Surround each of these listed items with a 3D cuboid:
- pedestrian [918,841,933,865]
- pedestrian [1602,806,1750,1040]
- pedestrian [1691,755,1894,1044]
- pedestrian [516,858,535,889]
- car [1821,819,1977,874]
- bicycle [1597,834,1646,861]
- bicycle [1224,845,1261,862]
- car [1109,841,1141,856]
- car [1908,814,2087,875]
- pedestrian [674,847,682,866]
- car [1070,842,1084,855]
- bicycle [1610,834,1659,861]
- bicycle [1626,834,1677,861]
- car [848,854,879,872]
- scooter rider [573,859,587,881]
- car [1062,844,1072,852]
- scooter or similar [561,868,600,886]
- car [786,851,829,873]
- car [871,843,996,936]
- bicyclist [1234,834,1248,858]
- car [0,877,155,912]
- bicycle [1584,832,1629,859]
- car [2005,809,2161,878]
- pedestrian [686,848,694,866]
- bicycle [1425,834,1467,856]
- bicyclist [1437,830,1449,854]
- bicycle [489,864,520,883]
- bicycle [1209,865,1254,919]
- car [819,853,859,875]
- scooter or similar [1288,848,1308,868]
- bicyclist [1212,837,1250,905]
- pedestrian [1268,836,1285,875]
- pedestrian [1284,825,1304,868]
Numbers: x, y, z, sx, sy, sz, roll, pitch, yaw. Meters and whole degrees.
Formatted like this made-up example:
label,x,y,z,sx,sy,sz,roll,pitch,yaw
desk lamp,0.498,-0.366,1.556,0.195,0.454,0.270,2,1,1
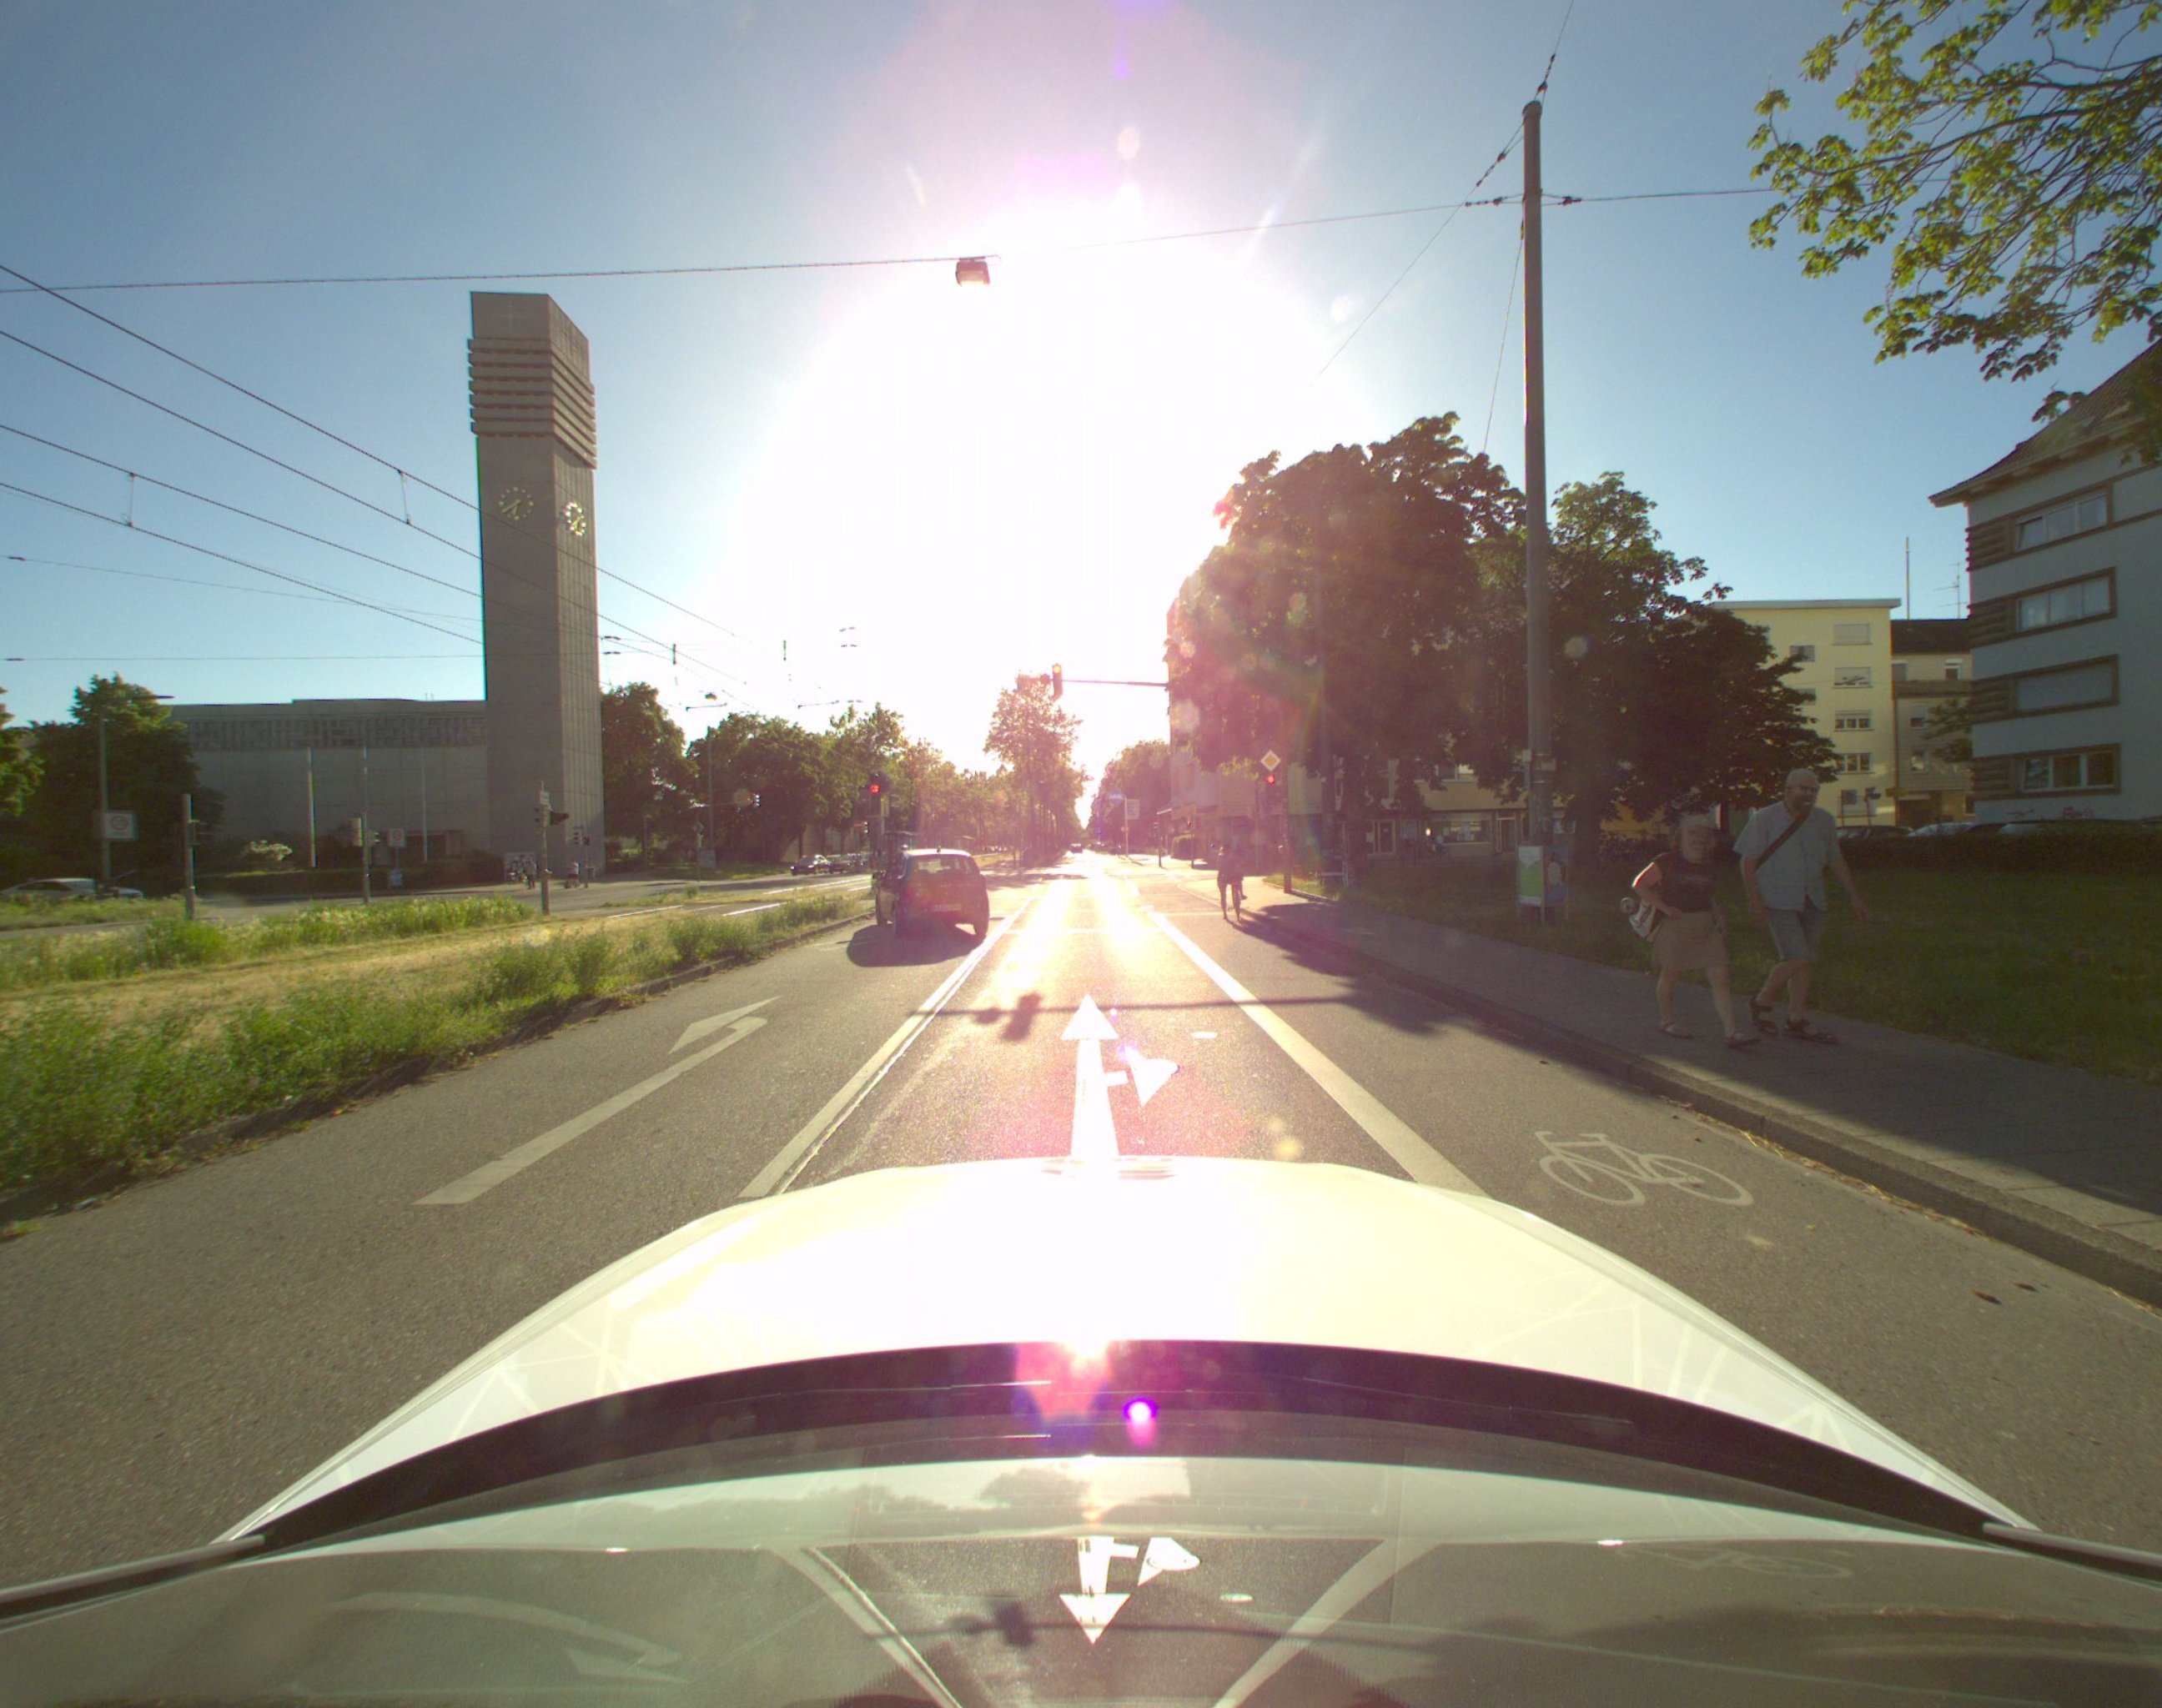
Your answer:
label,x,y,z,sx,sy,sz,roll,pitch,yaw
pedestrian,-10.557,-0.042,55.285,0.888,1.606,0.613,1,0,0
pedestrian,4.128,0.455,5.691,0.527,1.528,0.628,-3,0,5
pedestrian,4.762,0.285,5.499,0.699,1.789,0.695,-4,1,5
pedestrian,-30.552,1.040,44.787,0.440,1.666,0.748,1,0,10
car,24.824,-0.222,24.787,3.240,1.528,1.574,-2,1,-2
bicycle,21.401,-0.275,32.301,0.595,1.034,2.006,1,1,0
bicycle,10.134,-0.045,51.160,2.235,0.987,0.792,-1,6,15
car,5.728,-0.767,105.576,3.962,1.859,2.017,1,1,10
car,25.103,-0.269,22.382,3.240,1.528,1.574,-2,1,-2
pedestrian,-33.961,0.223,68.625,0.434,1.560,0.305,1,0,-4
car,-0.591,-0.818,121.305,1.963,1.859,3.998,1,1,-2
bicycle,22.057,-0.262,32.485,0.595,1.034,1.990,1,1,0
bicycle,22.707,-0.250,32.459,0.595,1.034,2.006,1,1,0
car,-18.354,0.737,68.805,1.561,1.402,3.915,1,1,0
scooter rider,-28.096,0.890,45.663,0.527,1.217,0.584,1,0,-17
car,-2.690,-1.192,159.842,1.888,1.611,4.498,1,1,-1
scooter or similar,-28.050,1.286,45.672,1.738,0.899,0.560,-2,1,-16
car,-20.878,0.567,62.340,1.801,1.533,4.361,-2,1,0
car,-2.869,0.554,15.231,1.700,1.508,3.674,0,1,-20
bicyclist,10.063,-0.511,51.194,0.762,1.471,0.902,-2,1,17
car,-45.165,1.814,36.501,4.697,1.401,1.996,1,1,-6
bicycle,20.760,-0.330,32.218,0.595,1.034,1.795,1,1,0
car,24.718,-0.274,19.608,3.240,1.528,1.574,-2,1,-2
pedestrian,-33.041,0.279,68.761,0.434,1.507,0.488,1,0,-4
bicycle,23.773,-0.607,53.039,2.463,1.399,0.608,1,0,-2
bicyclist,23.343,-0.758,52.480,0.526,1.567,0.464,1,0,-3
bicycle,-34.661,1.157,48.971,0.488,1.045,1.687,1,1,7
bicycle,3.012,0.741,16.436,0.645,0.972,1.805,1,1,3
car,-18.409,0.724,62.119,1.682,1.533,4.361,-2,1,0
scooter or similar,8.480,0.160,31.785,0.596,0.737,0.681,1,1,-1
bicyclist,3.026,0.333,16.528,0.635,1.323,0.803,1,0,2
pedestrian,7.822,0.062,32.558,0.642,1.522,0.498,1,0,12
pedestrian,8.471,-0.301,32.438,0.725,1.682,0.534,1,0,12
